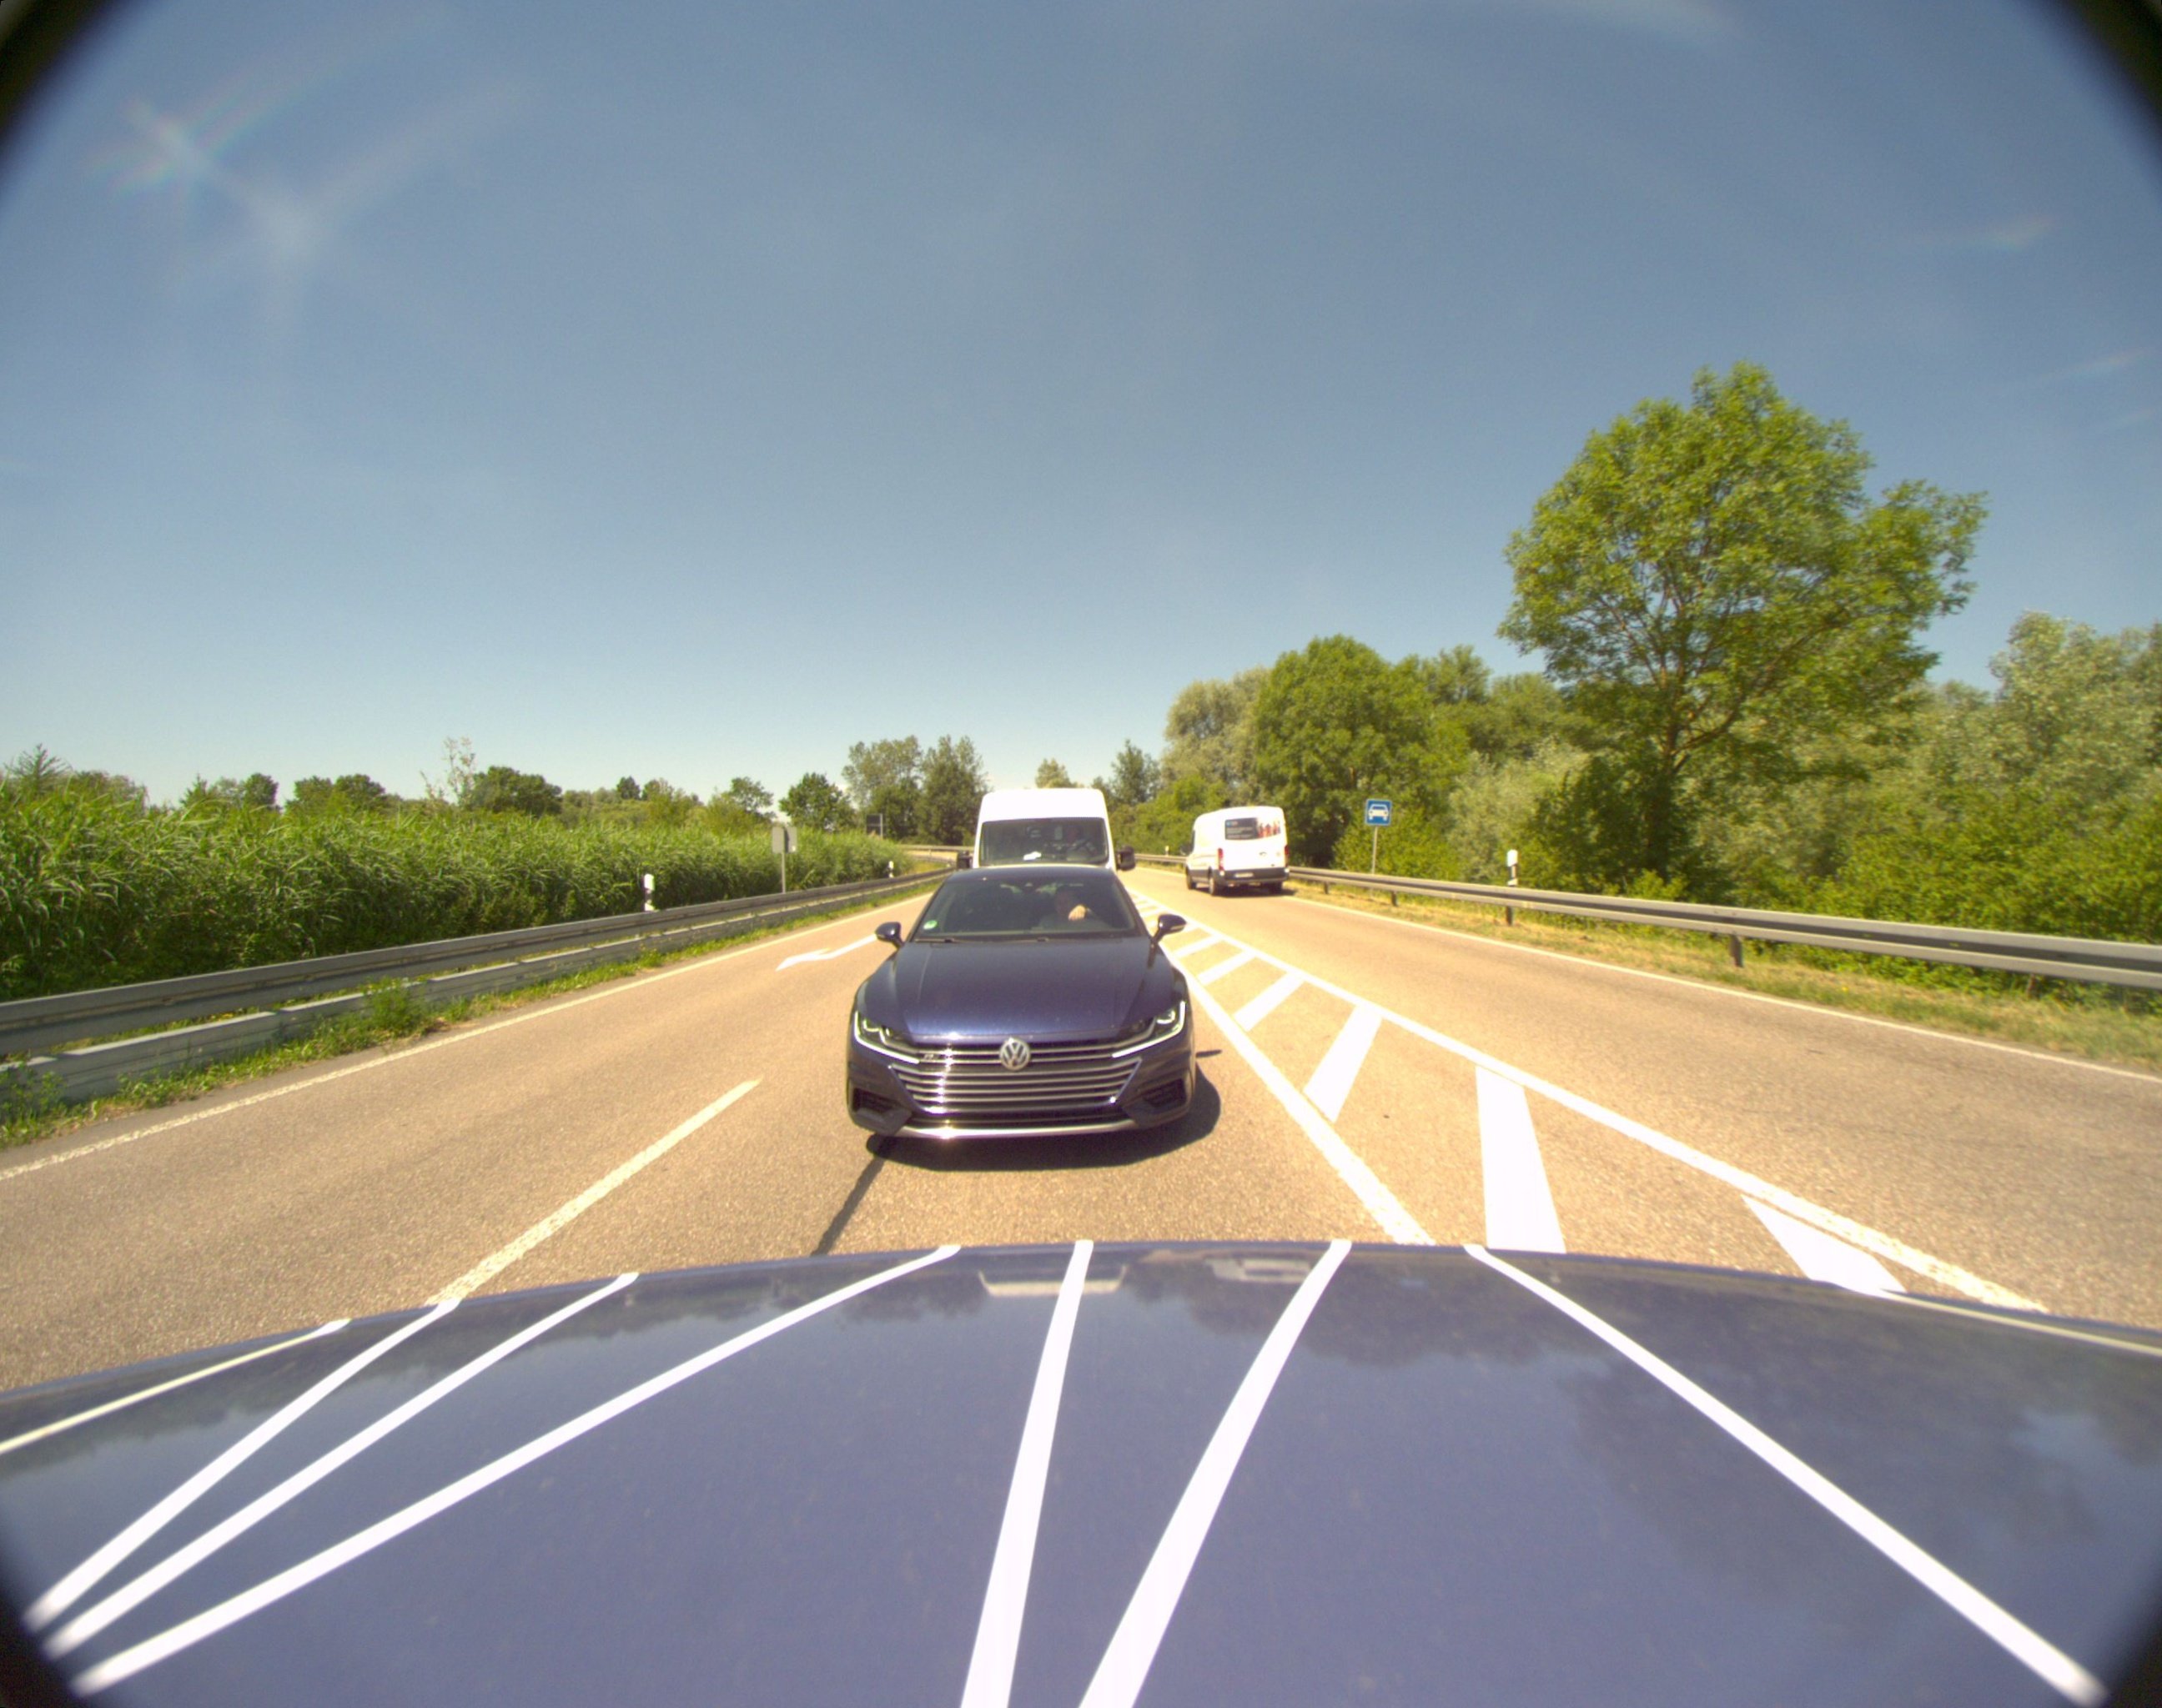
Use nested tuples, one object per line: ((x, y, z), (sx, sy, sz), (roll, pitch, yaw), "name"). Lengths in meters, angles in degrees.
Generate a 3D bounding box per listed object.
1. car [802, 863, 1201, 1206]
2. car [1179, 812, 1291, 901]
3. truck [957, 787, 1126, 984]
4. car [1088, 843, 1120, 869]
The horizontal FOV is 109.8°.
((-0.343, 0.875, 5.747), (1.819, 1.454, 4.415), (-2, 1, 1), "car")
((4.567, 0.014, 23.513), (1.999, 2.403, 5.586), (-1, 1, -3), "car")
((-0.662, 0.353, 12.281), (2.011, 2.365, 5.909), (-2, 1, -4), "truck")
((1.502, 0.106, 51.206), (1.741, 1.676, 4.207), (0, 1, -4), "car")
